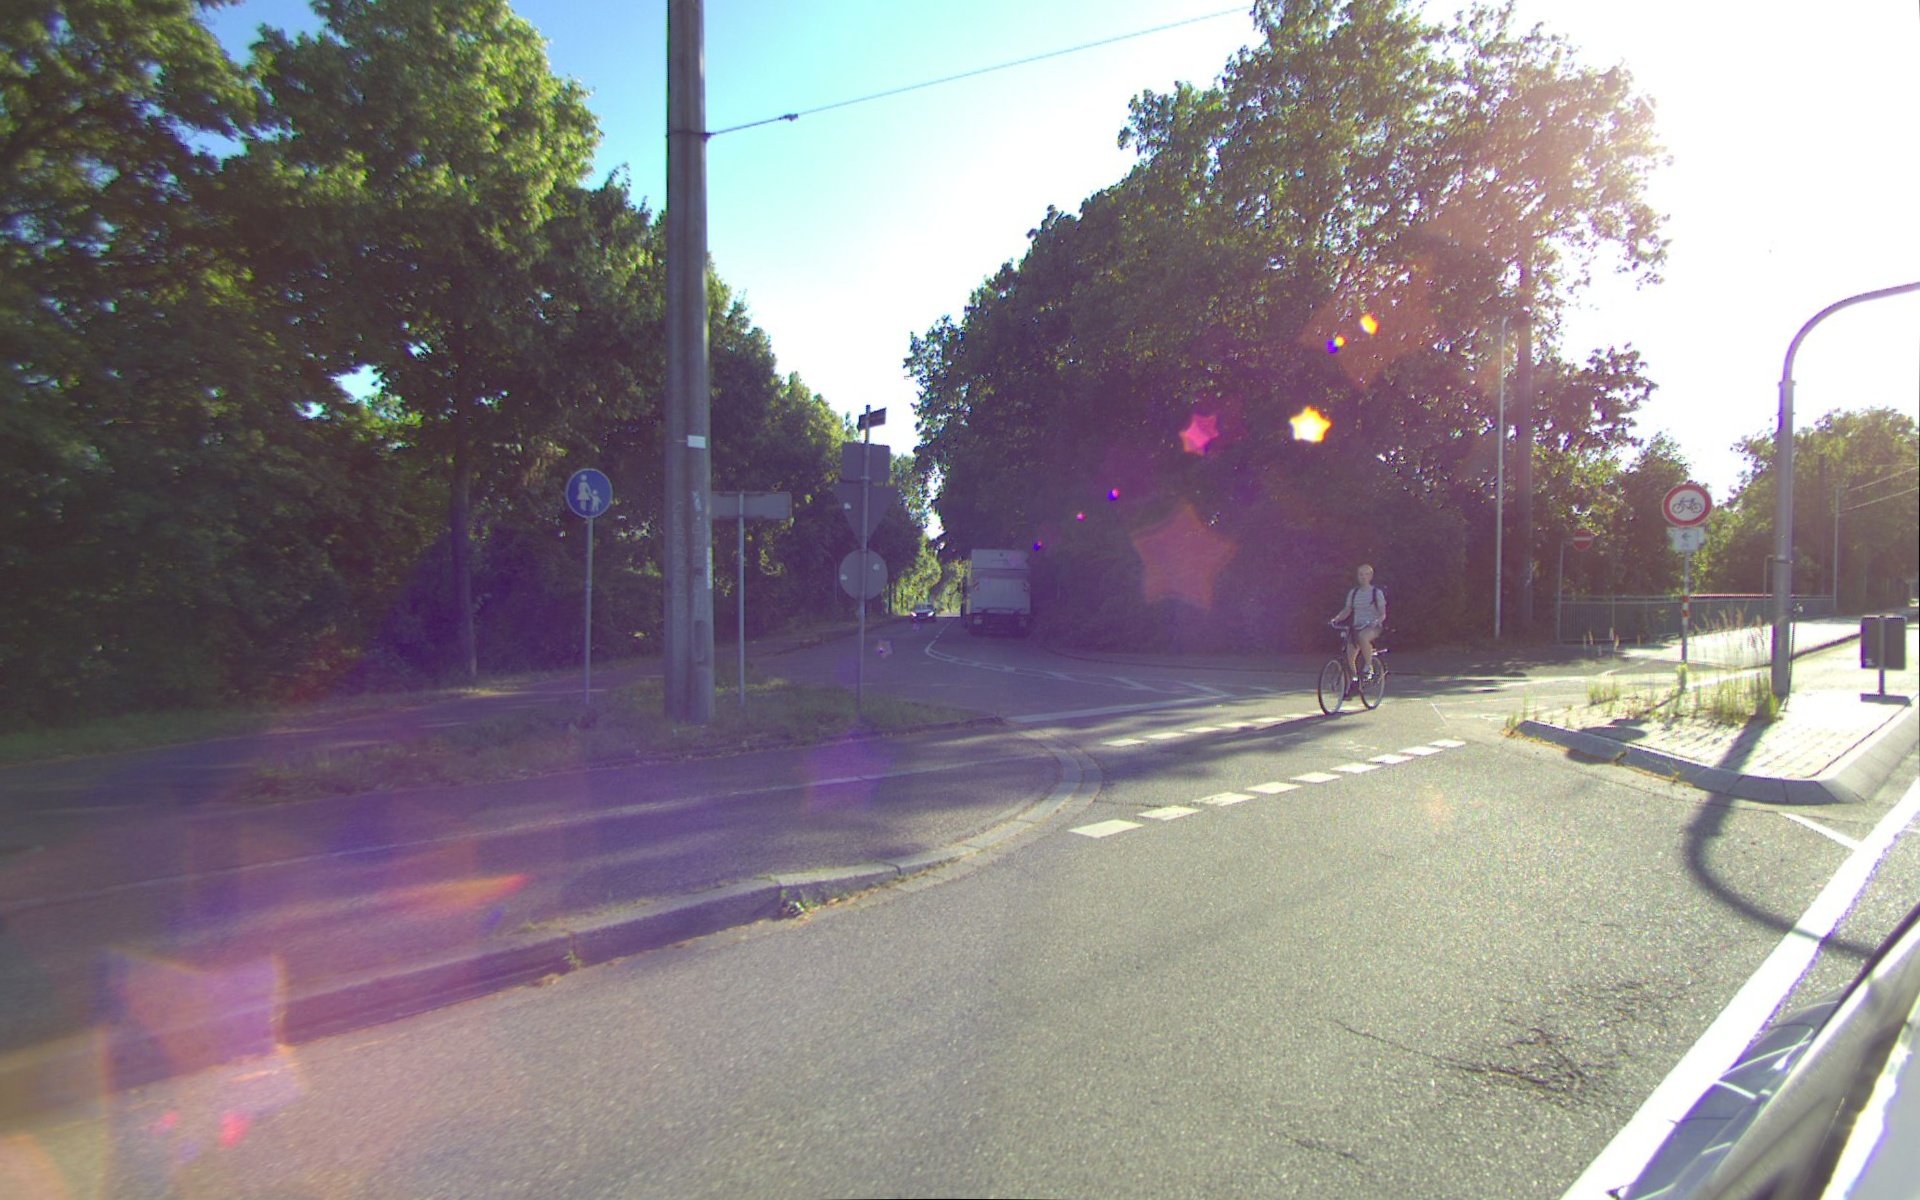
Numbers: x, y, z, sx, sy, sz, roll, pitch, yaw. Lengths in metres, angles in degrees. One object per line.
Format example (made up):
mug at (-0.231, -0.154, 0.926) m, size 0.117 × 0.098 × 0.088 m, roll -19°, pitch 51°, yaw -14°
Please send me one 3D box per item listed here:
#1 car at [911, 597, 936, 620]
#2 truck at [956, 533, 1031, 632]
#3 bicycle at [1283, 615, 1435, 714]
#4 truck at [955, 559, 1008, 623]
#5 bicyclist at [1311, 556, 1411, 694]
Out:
car at (-2.637, 0.592, 73.956) m, size 1.705 × 1.571 × 3.999 m, roll 0°, pitch 0°, yaw 0°
truck at (1.366, -0.781, 46.336) m, size 2.510 × 4.047 × 9.893 m, roll 0°, pitch 1°, yaw -3°
bicycle at (5.247, 0.788, 13.183) m, size 2.696 × 1.137 × 0.731 m, roll 0°, pitch -2°, yaw -43°
truck at (1.164, -0.529, 59.521) m, size 2.510 × 3.492 × 7.985 m, roll 0°, pitch 1°, yaw -3°
bicyclist at (5.247, 0.321, 13.227) m, size 1.182 × 1.711 × 0.731 m, roll 0°, pitch -3°, yaw -43°
